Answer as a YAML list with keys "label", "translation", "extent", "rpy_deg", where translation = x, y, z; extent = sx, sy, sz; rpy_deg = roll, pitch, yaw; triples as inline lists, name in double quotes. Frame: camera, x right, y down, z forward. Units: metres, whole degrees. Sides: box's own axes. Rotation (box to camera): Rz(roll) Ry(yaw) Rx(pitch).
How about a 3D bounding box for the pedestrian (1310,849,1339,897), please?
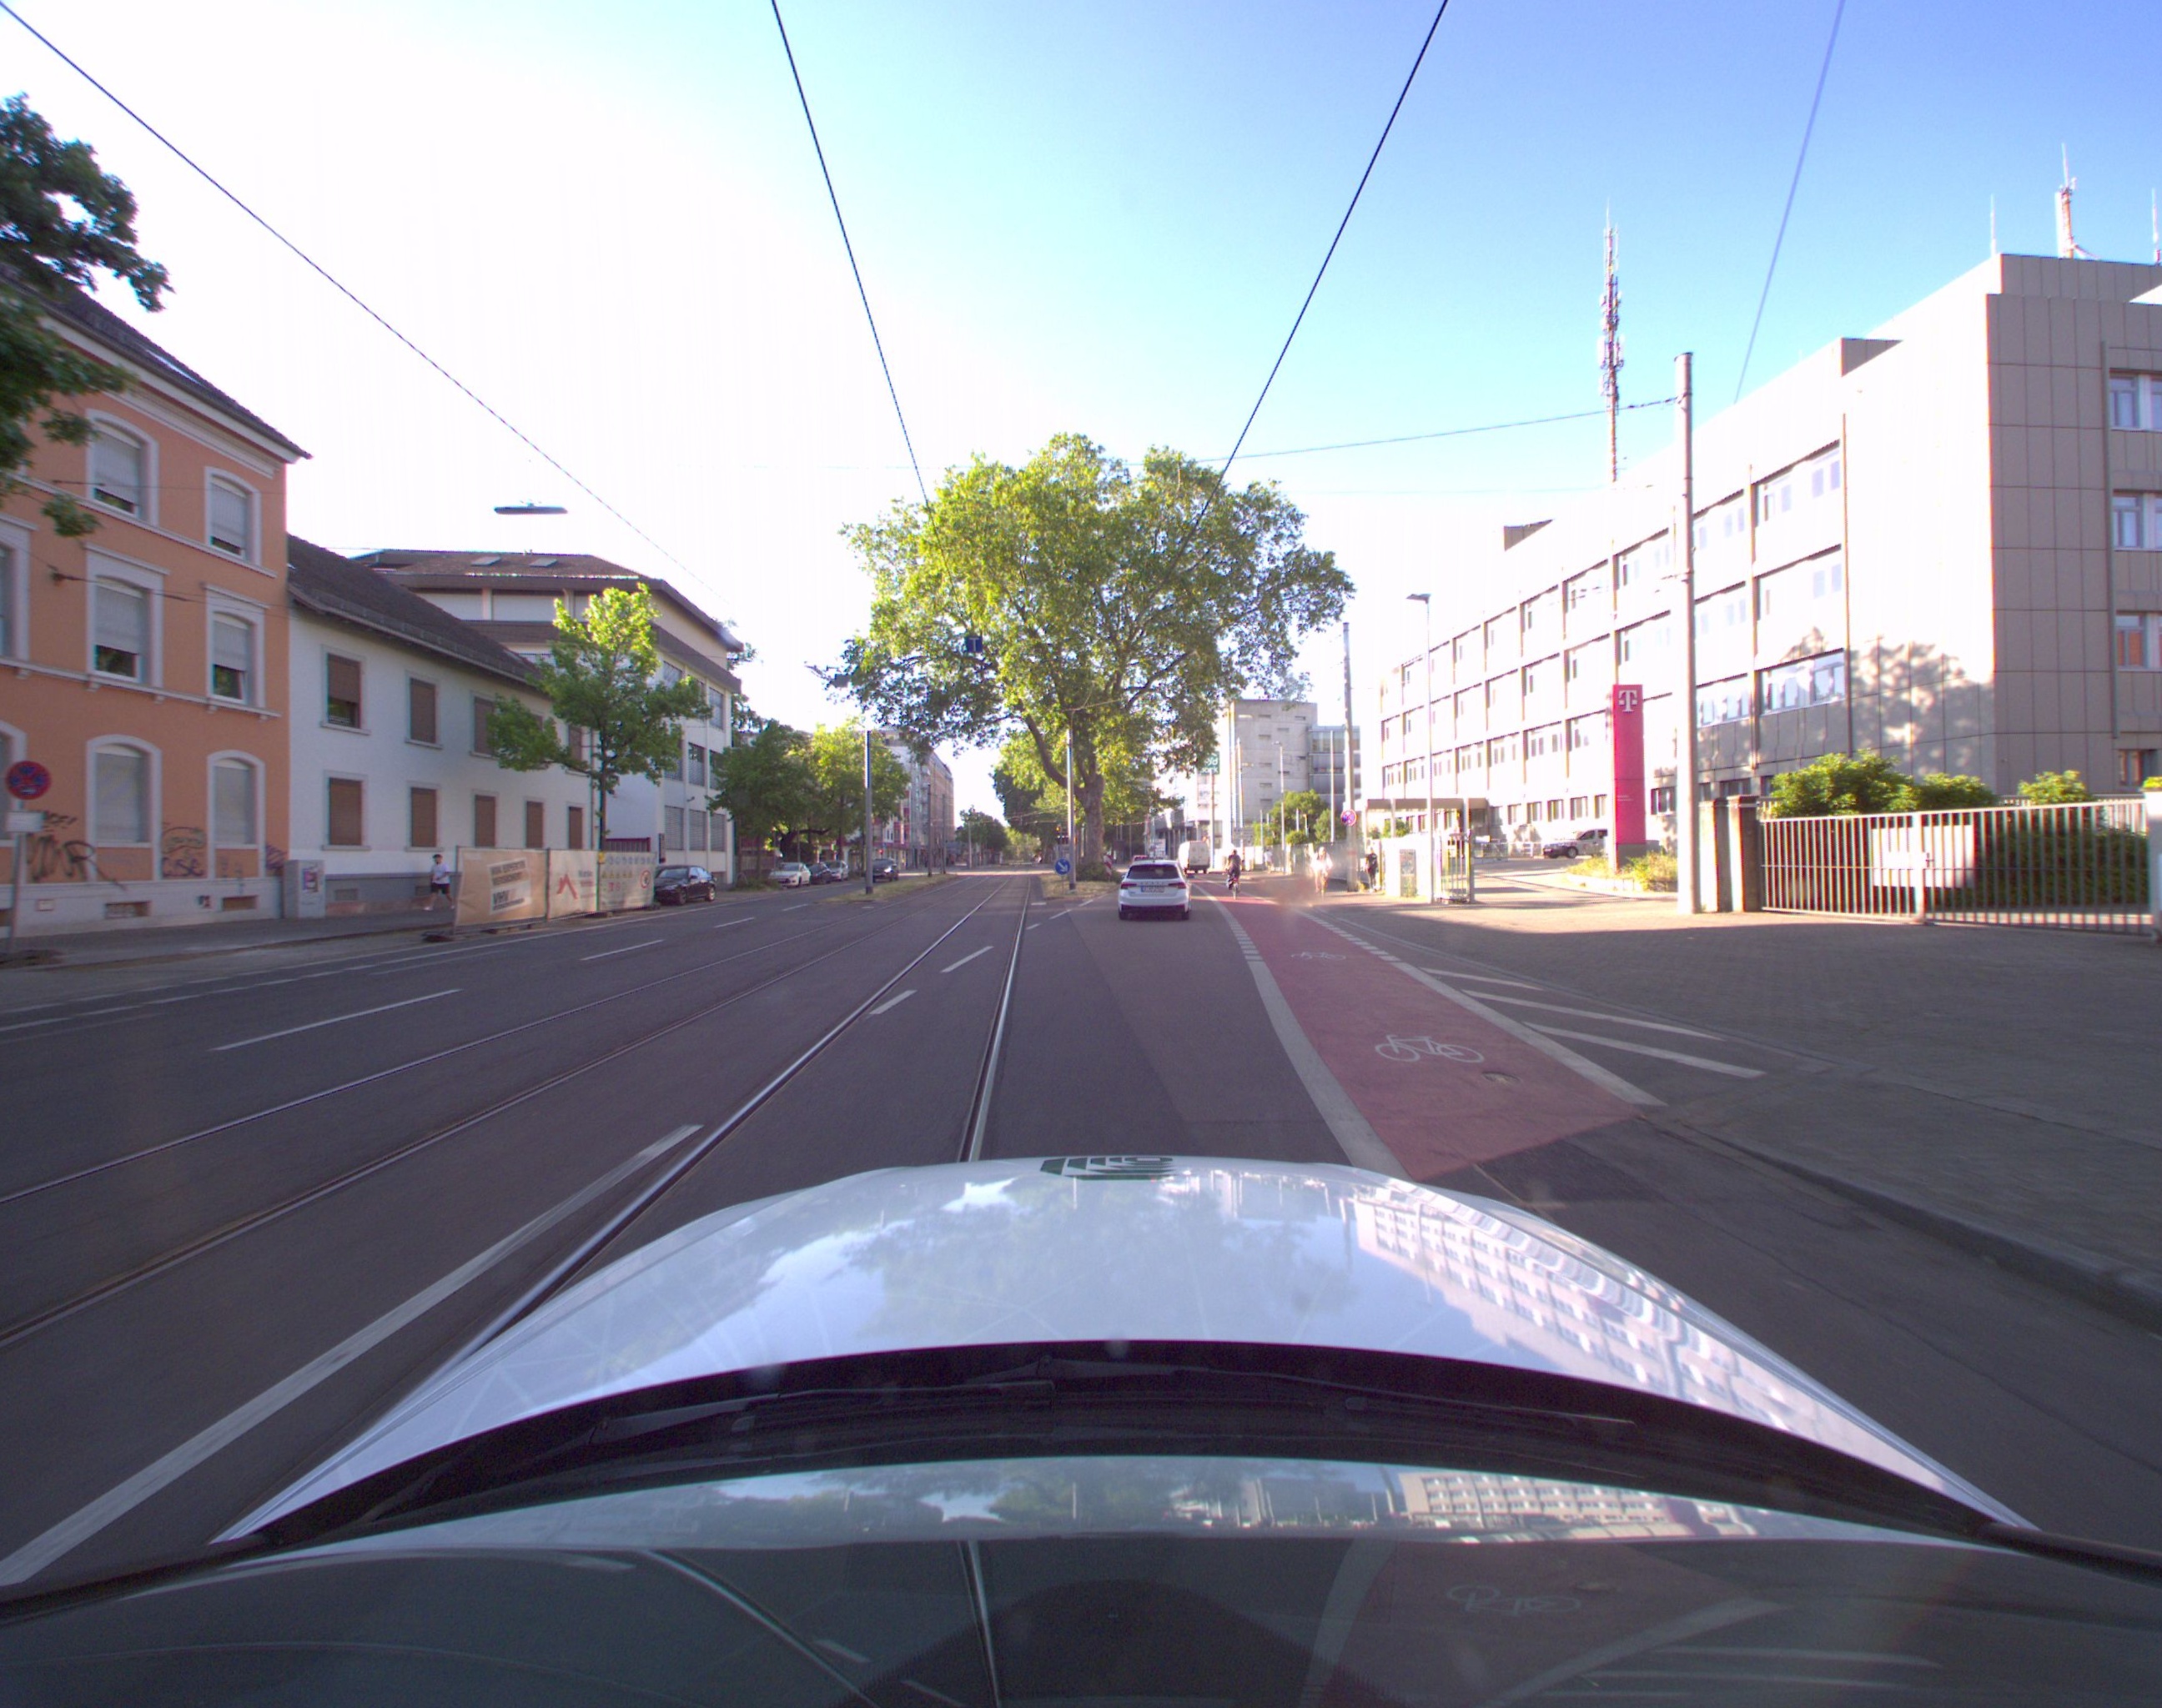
- label: "pedestrian"
  translation: [8.400, 0.645, 28.173]
  extent: [0.666, 1.619, 1.104]
  rpy_deg: [-3, -1, 5]

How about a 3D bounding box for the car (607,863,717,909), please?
- label: "car"
  translation: [-15.670, 1.140, 30.764]
  extent: [1.990, 1.513, 4.717]
  rpy_deg: [-1, 0, -5]

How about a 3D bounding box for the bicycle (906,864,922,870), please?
- label: "bicycle"
  translation: [-23.374, 1.855, 113.861]
  extent: [2.167, 0.787, 0.491]
  rpy_deg: [-1, 0, -7]

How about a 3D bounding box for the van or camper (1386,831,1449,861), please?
- label: "van or camper"
  translation: [23.454, -0.538, 56.984]
  extent: [1.977, 1.909, 4.991]
  rpy_deg: [-2, 0, -5]

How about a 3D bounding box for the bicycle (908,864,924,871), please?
- label: "bicycle"
  translation: [-23.319, 1.901, 115.223]
  extent: [2.167, 0.824, 0.526]
  rpy_deg: [-1, 0, -7]

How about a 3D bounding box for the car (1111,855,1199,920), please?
- label: "car"
  translation: [1.997, 0.779, 20.854]
  extent: [1.790, 1.501, 3.994]
  rpy_deg: [0, 0, 12]

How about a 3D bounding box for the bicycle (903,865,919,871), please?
- label: "bicycle"
  translation: [-23.579, 1.896, 113.083]
  extent: [2.167, 0.787, 0.639]
  rpy_deg: [-1, 0, -7]

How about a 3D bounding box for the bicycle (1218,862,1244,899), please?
- label: "bicycle"
  translation: [5.374, 0.934, 29.231]
  extent: [0.740, 1.224, 2.159]
  rpy_deg: [1, 0, 6]

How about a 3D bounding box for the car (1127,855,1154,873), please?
- label: "car"
  translation: [5.069, 0.833, 69.476]
  extent: [1.835, 1.489, 3.712]
  rpy_deg: [-1, 0, -3]

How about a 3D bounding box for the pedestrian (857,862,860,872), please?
- label: "pedestrian"
  translation: [-28.127, 1.638, 103.071]
  extent: [0.303, 1.214, 0.317]
  rpy_deg: [-2, 0, -9]

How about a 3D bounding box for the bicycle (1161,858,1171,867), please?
- label: "bicycle"
  translation: [10.914, 1.052, 104.742]
  extent: [0.791, 1.161, 2.495]
  rpy_deg: [-1, 0, -5]

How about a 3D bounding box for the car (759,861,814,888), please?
- label: "car"
  translation: [-17.265, 1.170, 47.879]
  extent: [1.991, 1.471, 4.396]
  rpy_deg: [-1, 0, -6]

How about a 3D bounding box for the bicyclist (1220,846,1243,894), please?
- label: "bicyclist"
  translation: [5.365, 0.562, 29.084]
  extent: [0.739, 1.669, 0.746]
  rpy_deg: [1, 0, 5]

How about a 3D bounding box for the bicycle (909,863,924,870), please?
- label: "bicycle"
  translation: [-23.405, 1.833, 115.862]
  extent: [2.167, 0.951, 0.491]
  rpy_deg: [-1, 0, -7]

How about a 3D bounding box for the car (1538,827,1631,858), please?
- label: "car"
  translation: [29.105, -0.644, 47.161]
  extent: [4.244, 1.718, 1.990]
  rpy_deg: [-1, 0, -5]

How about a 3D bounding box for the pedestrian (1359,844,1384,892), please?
- label: "pedestrian"
  translation: [10.537, 0.506, 29.532]
  extent: [0.691, 1.684, 0.933]
  rpy_deg: [-1, 0, 11]

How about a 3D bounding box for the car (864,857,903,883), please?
- label: "car"
  translation: [-13.327, 1.058, 55.212]
  extent: [1.991, 1.689, 4.301]
  rpy_deg: [-1, 0, -6]

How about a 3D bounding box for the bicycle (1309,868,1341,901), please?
- label: "bicycle"
  translation: [8.419, 1.031, 28.151]
  extent: [0.671, 1.032, 1.904]
  rpy_deg: [-3, 0, 6]

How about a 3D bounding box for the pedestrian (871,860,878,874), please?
- label: "pedestrian"
  translation: [-25.782, 1.604, 101.829]
  extent: [0.708, 1.662, 1.030]
  rpy_deg: [-2, 0, -8]

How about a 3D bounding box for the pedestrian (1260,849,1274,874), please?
- label: "pedestrian"
  translation: [13.295, 0.532, 58.113]
  extent: [0.783, 1.748, 0.772]
  rpy_deg: [-2, 0, 2]

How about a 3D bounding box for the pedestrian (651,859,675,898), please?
- label: "pedestrian"
  translation: [-17.583, 1.041, 34.259]
  extent: [0.634, 1.620, 0.730]
  rpy_deg: [0, -1, -6]

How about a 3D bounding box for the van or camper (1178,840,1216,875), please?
- label: "van or camper"
  translation: [9.528, 0.295, 67.473]
  extent: [2.261, 2.733, 6.346]
  rpy_deg: [1, 0, 0]

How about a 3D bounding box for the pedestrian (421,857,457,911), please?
- label: "pedestrian"
  translation: [-19.181, 0.882, 24.344]
  extent: [0.593, 1.570, 0.638]
  rpy_deg: [-1, 0, -6]

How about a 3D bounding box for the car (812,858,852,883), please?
- label: "car"
  translation: [-18.469, 1.198, 60.611]
  extent: [1.991, 1.689, 4.169]
  rpy_deg: [-1, 0, -6]

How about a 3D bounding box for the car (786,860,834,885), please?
- label: "car"
  translation: [-17.803, 1.181, 53.766]
  extent: [1.991, 1.476, 4.640]
  rpy_deg: [-1, 0, -6]

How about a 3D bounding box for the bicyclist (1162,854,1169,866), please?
- label: "bicyclist"
  translation: [10.885, 0.775, 104.894]
  extent: [0.784, 1.635, 0.638]
  rpy_deg: [-1, 0, -5]
